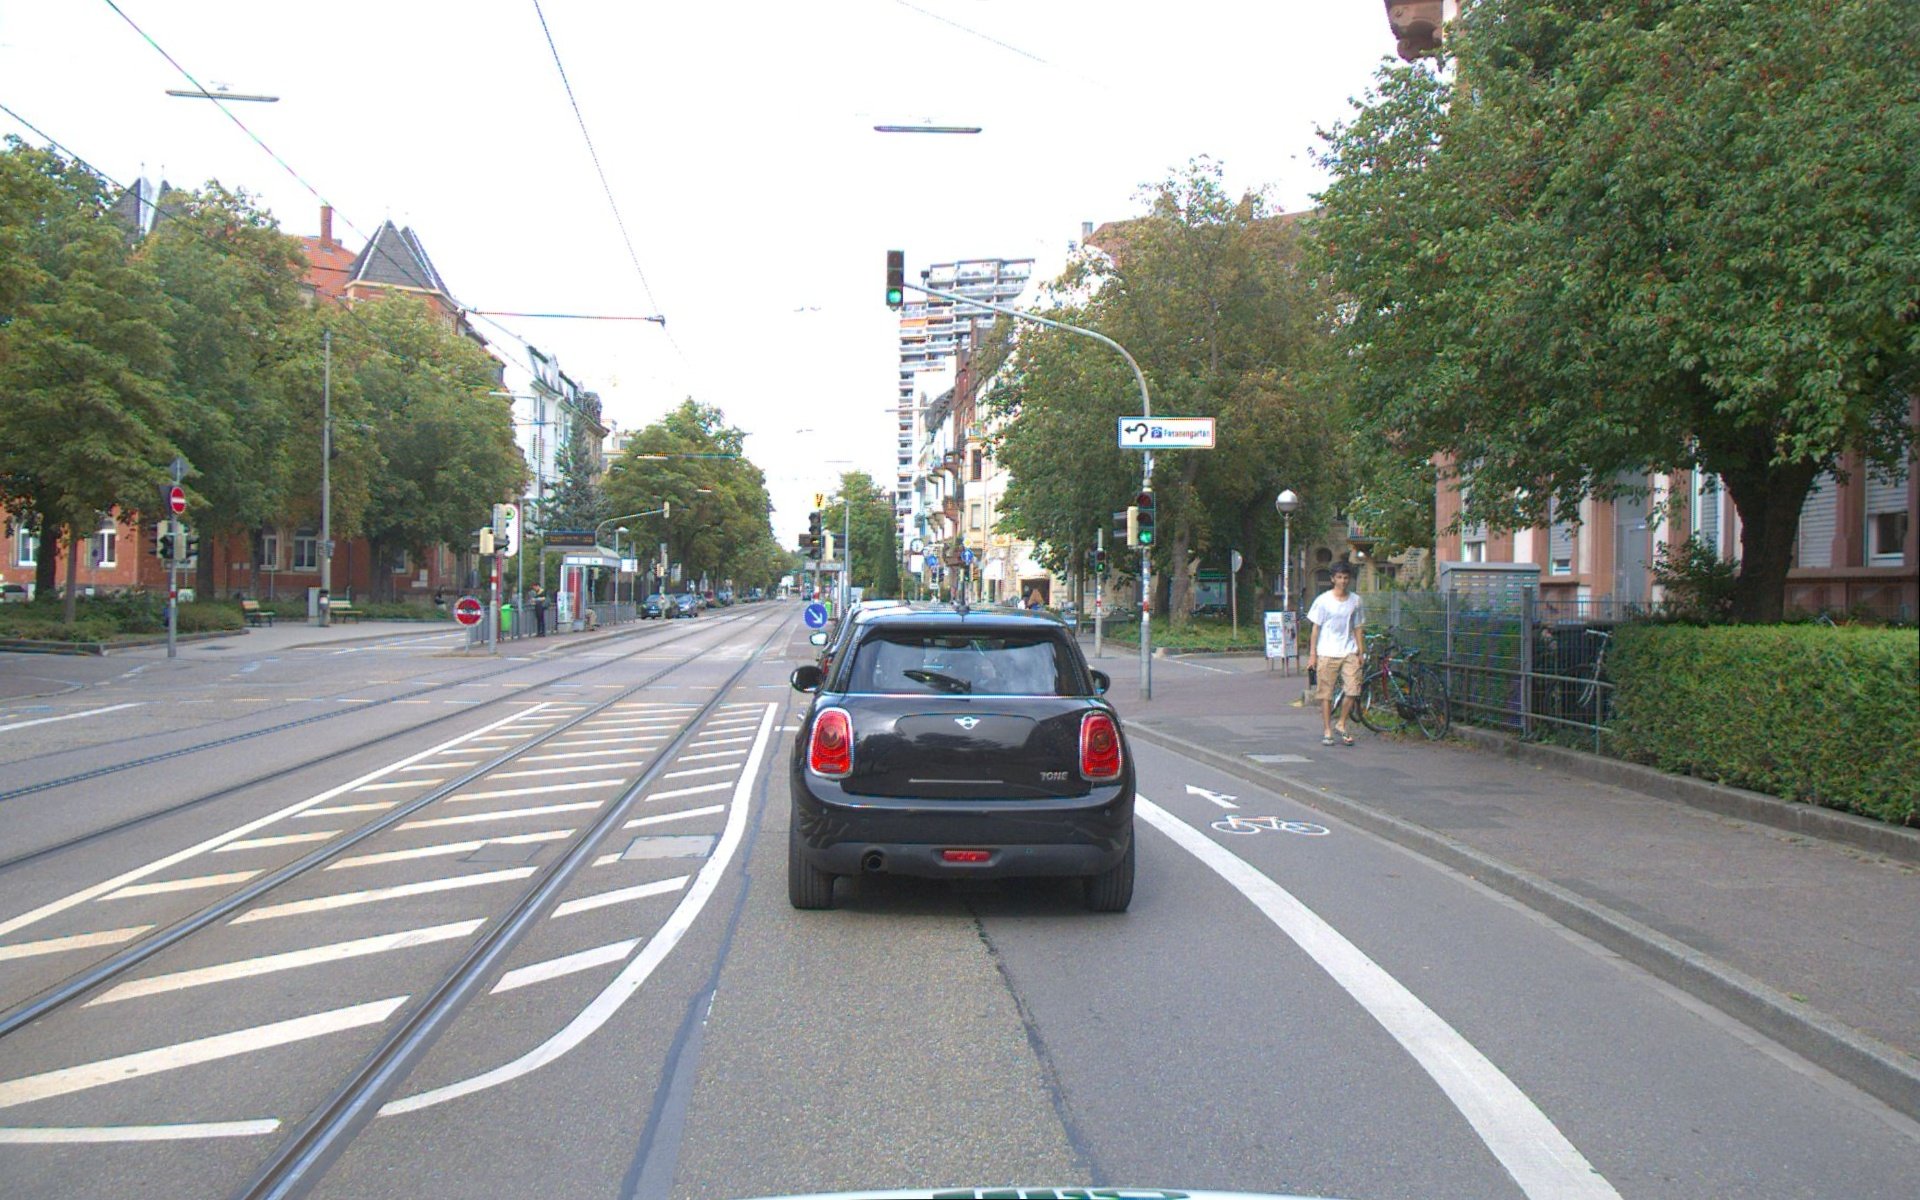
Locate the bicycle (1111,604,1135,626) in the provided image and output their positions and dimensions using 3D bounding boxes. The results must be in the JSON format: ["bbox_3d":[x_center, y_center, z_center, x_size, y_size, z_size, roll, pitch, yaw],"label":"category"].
[{"bbox_3d":[8.288,0.749,83.921,0.441,1.073,1.642,0,0,37],"label":"bicycle"}]

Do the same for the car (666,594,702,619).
[{"bbox_3d":[-17.303,0.369,103.918,1.717,1.466,3.997,2,0,-3],"label":"car"}]

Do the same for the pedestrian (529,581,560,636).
[{"bbox_3d":[-12.639,0.257,50.310,0.836,1.649,0.841,0,0,-10],"label":"pedestrian"}]

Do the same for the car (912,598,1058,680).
[{"bbox_3d":[0.567,0.695,32.027,1.714,1.466,4.482,1,0,16],"label":"car"}]

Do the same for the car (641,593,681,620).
[{"bbox_3d":[-17.037,0.367,94.391,1.717,1.466,3.997,2,0,-3],"label":"car"}]

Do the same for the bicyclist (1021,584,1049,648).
[{"bbox_3d":[1.859,0.388,41.190,0.583,1.577,1.013,0,0,-5],"label":"bicyclist"}]

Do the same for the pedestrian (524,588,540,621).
[{"bbox_3d":[-22.790,0.229,88.139,0.680,1.749,0.757,0,0,-3],"label":"pedestrian"}]

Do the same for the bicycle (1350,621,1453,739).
[{"bbox_3d":[4.552,0.799,17.133,0.498,1.107,1.548,-3,1,-5],"label":"bicycle"}]

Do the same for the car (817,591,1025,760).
[{"bbox_3d":[-0.460,0.682,17.081,1.888,1.536,3.997,0,0,-3],"label":"car"}]

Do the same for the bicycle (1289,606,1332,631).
[{"bbox_3d":[16.008,0.843,75.496,1.855,1.147,0.561,0,0,-14],"label":"bicycle"}]

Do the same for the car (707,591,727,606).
[{"bbox_3d":[-27.790,-0.177,189.498,1.954,1.579,3.996,1,0,-5],"label":"car"}]

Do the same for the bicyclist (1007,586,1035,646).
[{"bbox_3d":[1.630,0.429,44.494,0.670,1.591,0.997,0,0,-3],"label":"bicyclist"}]

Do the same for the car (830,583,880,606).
[{"bbox_3d":[-11.017,-0.575,173.556,2.357,2.312,5.004,1,0,44],"label":"car"}]

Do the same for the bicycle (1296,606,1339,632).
[{"bbox_3d":[16.194,0.847,74.925,1.855,1.147,0.596,0,0,-14],"label":"bicycle"}]

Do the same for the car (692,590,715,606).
[{"bbox_3d":[-25.813,-0.177,166.636,1.954,1.579,3.996,1,0,-5],"label":"car"}]

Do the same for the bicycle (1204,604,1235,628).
[{"bbox_3d":[12.484,0.777,79.603,0.654,1.147,1.886,0,0,37],"label":"bicycle"}]

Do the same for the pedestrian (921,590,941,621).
[{"bbox_3d":[-1.630,0.308,93.718,0.719,1.703,0.831,-2,1,41],"label":"pedestrian"}]

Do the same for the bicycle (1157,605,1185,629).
[{"bbox_3d":[10.407,0.830,81.439,0.522,1.147,1.886,0,0,37],"label":"bicycle"}]

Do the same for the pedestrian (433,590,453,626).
[{"bbox_3d":[-24.602,0.380,78.741,0.817,1.733,0.731,0,0,-10],"label":"pedestrian"}]

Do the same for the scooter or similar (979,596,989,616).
[{"bbox_3d":[1.492,0.385,103.054,0.498,1.209,1.260,0,0,-5],"label":"scooter or similar"}]

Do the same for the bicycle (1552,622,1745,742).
[{"bbox_3d":[6.060,0.712,14.580,1.515,1.026,0.509,0,0,-7],"label":"bicycle"}]

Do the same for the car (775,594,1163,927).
[{"bbox_3d":[-0.003,0.711,9.366,1.716,1.466,3.999,0,0,-1],"label":"car"}]

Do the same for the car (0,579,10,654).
[{"bbox_3d":[-24.347,0.417,38.993,4.074,1.751,1.834,-2,-2,35],"label":"car"}]

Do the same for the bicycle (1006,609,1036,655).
[{"bbox_3d":[1.627,0.837,44.549,0.670,1.190,1.696,0,0,-3],"label":"bicycle"}]

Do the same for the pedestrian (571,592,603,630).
[{"bbox_3d":[-13.142,0.387,58.264,1.039,1.316,0.983,0,0,-10],"label":"pedestrian"}]

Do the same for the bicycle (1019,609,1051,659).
[{"bbox_3d":[1.856,0.842,41.194,0.586,1.190,1.695,0,0,-5],"label":"bicycle"}]

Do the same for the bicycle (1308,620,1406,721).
[{"bbox_3d":[4.744,0.825,19.880,0.658,1.125,1.670,0,0,-5],"label":"bicycle"}]

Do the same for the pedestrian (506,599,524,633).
[{"bbox_3d":[-22.439,0.812,83.443,0.817,1.733,0.731,0,0,-10],"label":"pedestrian"}]

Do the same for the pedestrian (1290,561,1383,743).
[{"bbox_3d":[3.798,0.504,16.732,0.715,1.784,0.949,0,0,0],"label":"pedestrian"}]

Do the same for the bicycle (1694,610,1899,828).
[{"bbox_3d":[5.448,0.732,10.867,0.505,1.304,1.549,0,0,-3],"label":"bicycle"}]

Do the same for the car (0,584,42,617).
[{"bbox_3d":[-45.045,0.018,77.018,3.903,1.504,1.816,0,0,18],"label":"car"}]
